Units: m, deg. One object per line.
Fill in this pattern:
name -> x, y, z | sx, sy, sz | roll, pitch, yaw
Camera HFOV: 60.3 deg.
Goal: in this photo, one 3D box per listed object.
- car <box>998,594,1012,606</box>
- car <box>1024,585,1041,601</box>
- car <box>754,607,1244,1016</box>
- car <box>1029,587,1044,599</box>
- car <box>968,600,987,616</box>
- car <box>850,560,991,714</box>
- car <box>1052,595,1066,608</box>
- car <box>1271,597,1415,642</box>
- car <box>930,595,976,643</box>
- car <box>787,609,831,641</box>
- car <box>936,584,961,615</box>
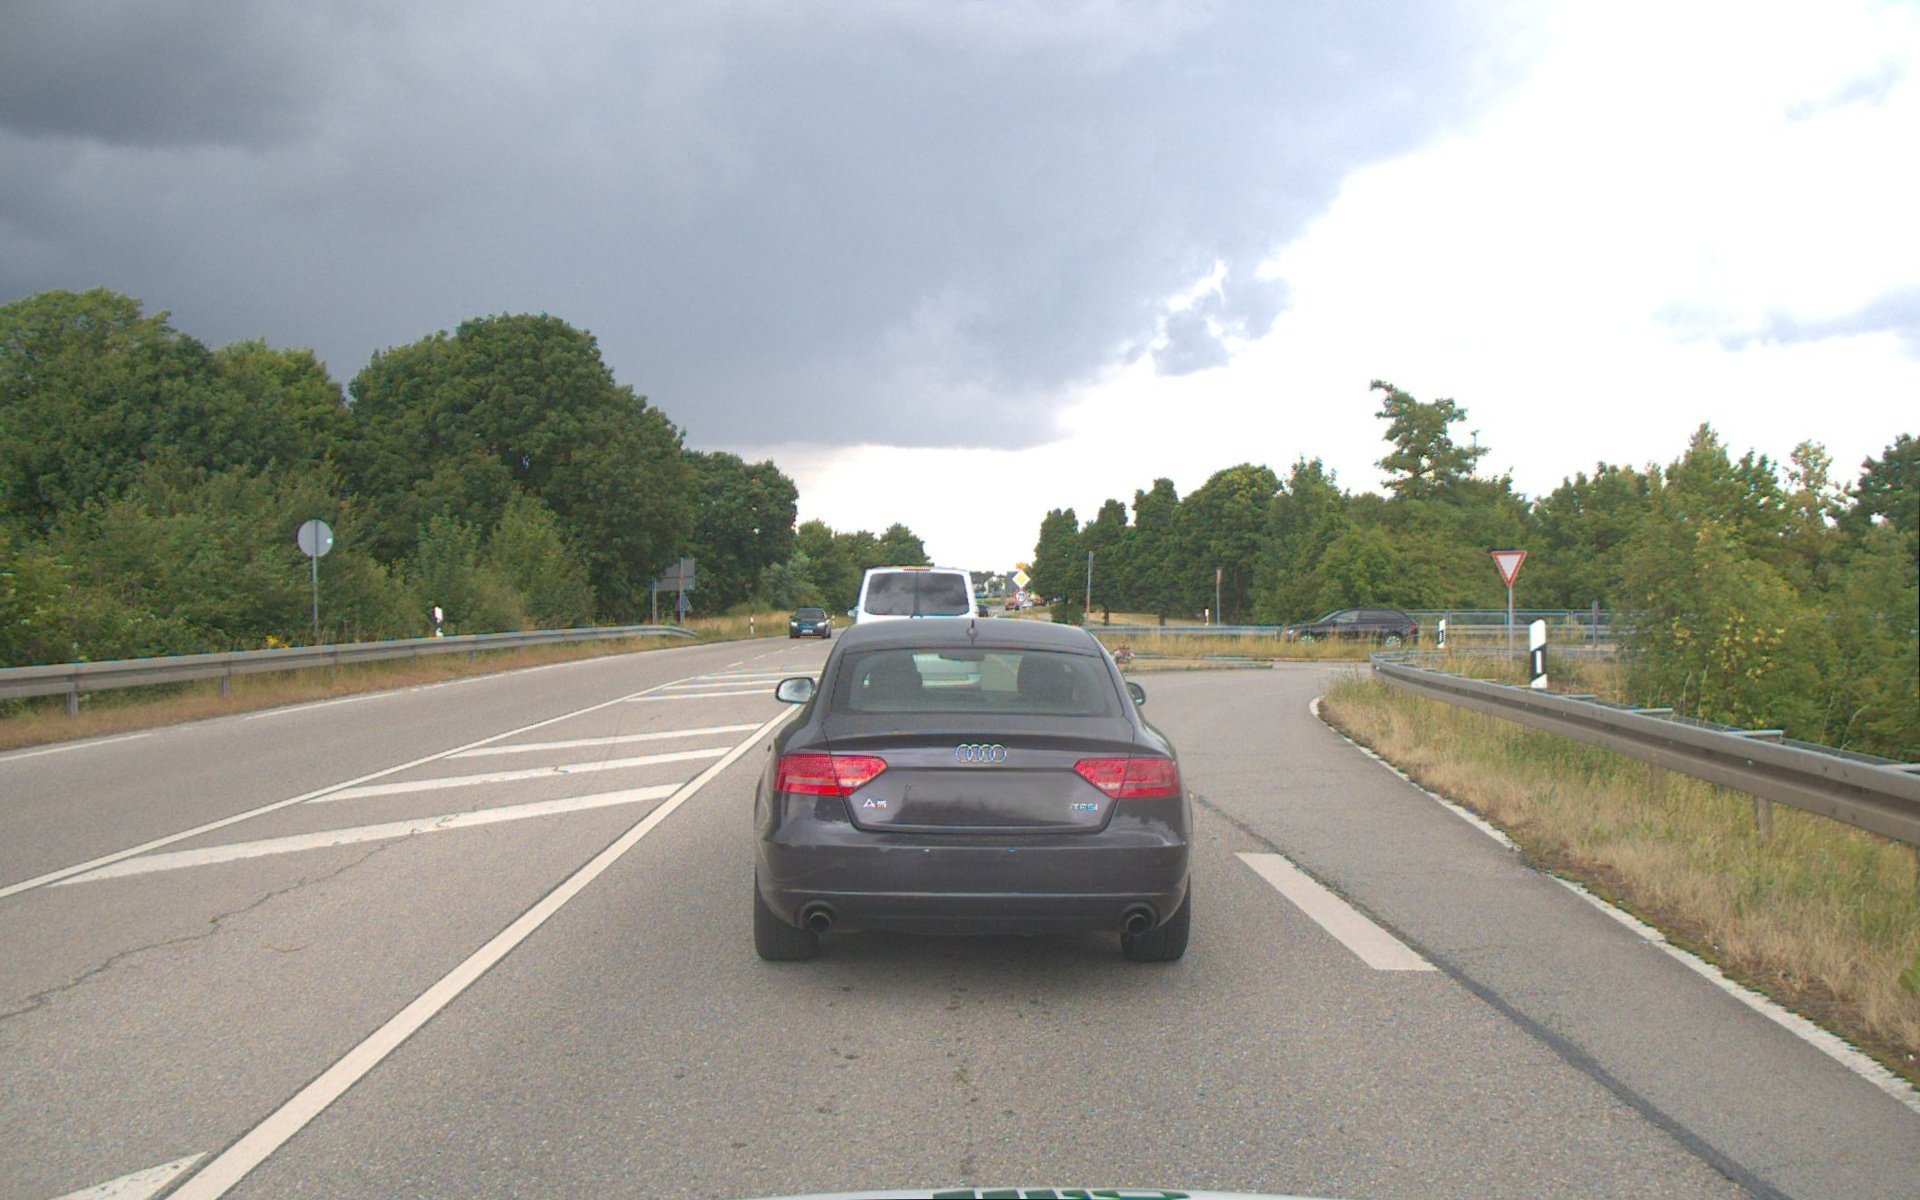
car -> 6.651, -0.031, 244.918 | 1.952, 1.721, 4.001 | 1, 0, 1
car -> 9.441, -0.942, 215.580 | 1.952, 2.049, 4.000 | 1, 0, 1
car -> 0.089, 0.757, 7.554 | 1.744, 1.423, 3.335 | 0, 0, -2
car -> 10.797, -0.968, 234.385 | 1.952, 1.721, 4.001 | 1, 0, 1
car -> 1.972, 0.913, 186.938 | 1.952, 1.721, 4.001 | 1, 0, 2
car -> -0.591, 0.483, 24.191 | 1.872, 2.049, 3.999 | 1, 0, -2
car -> 13.657, 0.241, 227.512 | 1.836, 1.721, 4.002 | 1, 0, 4
car -> 12.433, 0.622, 53.656 | 4.468, 1.356, 1.703 | 1, 0, 16
car -> -0.336, 0.834, 76.361 | 2.038, 2.101, 4.875 | 1, 0, 0
car -> -7.285, 1.184, 80.083 | 1.761, 1.423, 3.483 | 1, 0, 0
car -> -0.921, -0.032, 133.894 | 1.953, 2.450, 4.000 | 2, 0, 0
